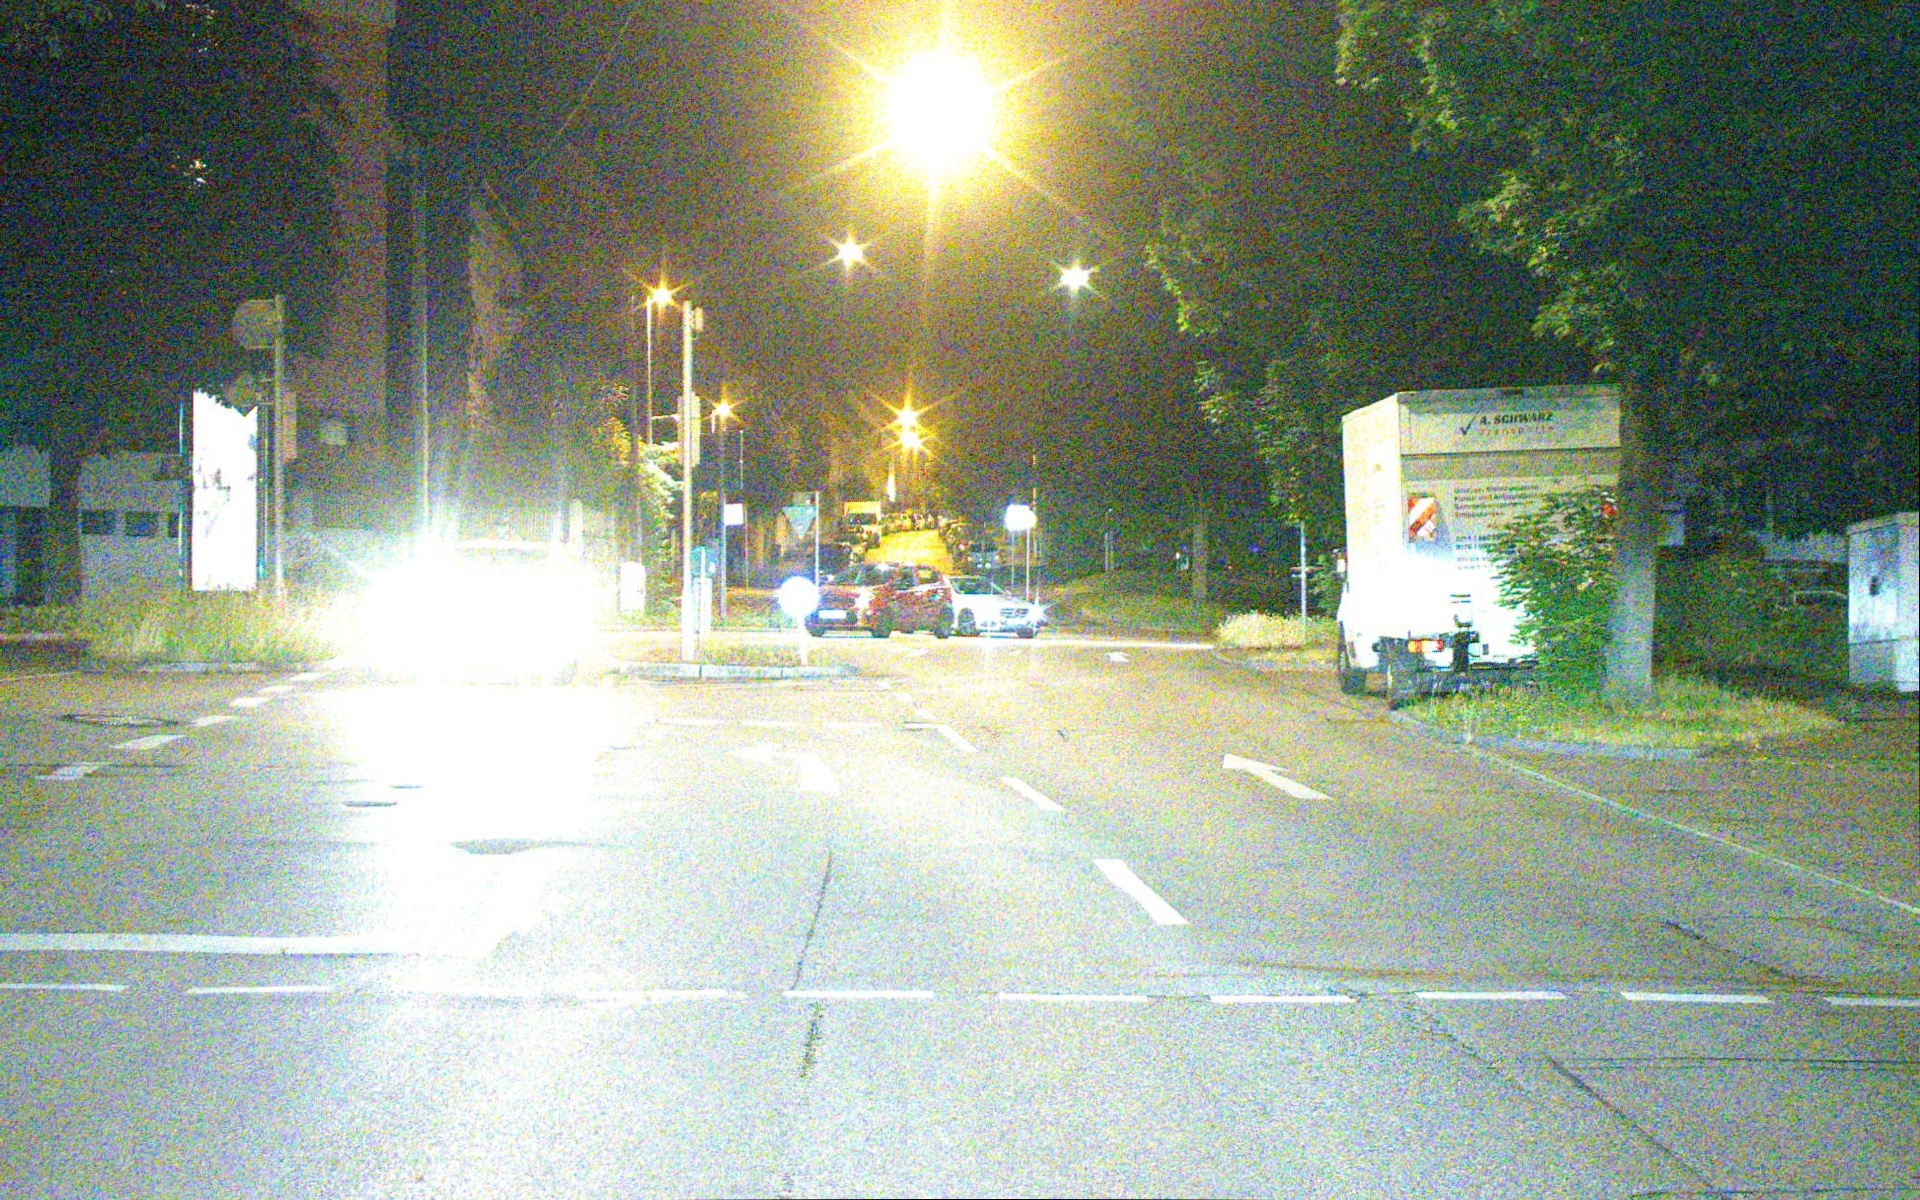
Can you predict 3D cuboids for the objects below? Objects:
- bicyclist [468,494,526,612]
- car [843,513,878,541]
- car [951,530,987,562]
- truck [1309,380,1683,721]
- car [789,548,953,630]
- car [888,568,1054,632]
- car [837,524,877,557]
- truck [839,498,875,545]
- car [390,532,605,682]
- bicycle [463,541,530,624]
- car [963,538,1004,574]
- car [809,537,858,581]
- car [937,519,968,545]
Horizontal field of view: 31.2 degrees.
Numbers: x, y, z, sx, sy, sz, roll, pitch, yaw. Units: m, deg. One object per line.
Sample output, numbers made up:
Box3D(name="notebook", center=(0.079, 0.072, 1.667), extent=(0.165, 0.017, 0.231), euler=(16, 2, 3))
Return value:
Box3D(name="bicyclist", center=(-6.498, -0.659, 48.294), extent=(0.690, 1.631, 0.896), euler=(1, 0, -1))
Box3D(name="car", center=(-5.431, -3.946, 187.244), extent=(1.815, 1.486, 4.001), euler=(1, 1, -2))
Box3D(name="car", center=(0.404, -2.491, 159.574), extent=(1.634, 1.447, 3.485), euler=(1, 1, -1))
Box3D(name="truck", center=(5.257, -0.504, 34.805), extent=(2.749, 3.100, 6.258), euler=(1, 1, 0))
Box3D(name="car", center=(-1.661, -0.235, 65.497), extent=(1.584, 1.496, 3.390), euler=(1, 1, 30))
Box3D(name="car", center=(0.219, -0.016, 80.353), extent=(1.916, 1.384, 4.583), euler=(0, 1, -28))
Box3D(name="car", center=(-4.843, -2.795, 160.864), extent=(1.815, 1.486, 4.001), euler=(1, 1, -2))
Box3D(name="truck", center=(-6.283, -4.778, 209.873), extent=(2.086, 2.838, 5.832), euler=(1, 1, -2))
Box3D(name="car", center=(-4.993, 0.041, 37.574), extent=(1.857, 1.529, 4.028), euler=(1, 1, -1))
Box3D(name="bicycle", center=(-6.512, -0.250, 48.384), extent=(0.696, 1.145, 1.951), euler=(1, 0, -1))
Box3D(name="car", center=(0.981, -1.837, 143.660), extent=(1.634, 1.447, 3.485), euler=(1, 1, -1))
Box3D(name="car", center=(-4.942, -1.612, 134.744), extent=(1.815, 1.678, 4.000), euler=(1, 1, -1))
Box3D(name="car", center=(-0.429, -3.779, 191.775), extent=(1.634, 1.447, 3.485), euler=(1, 1, -1))
